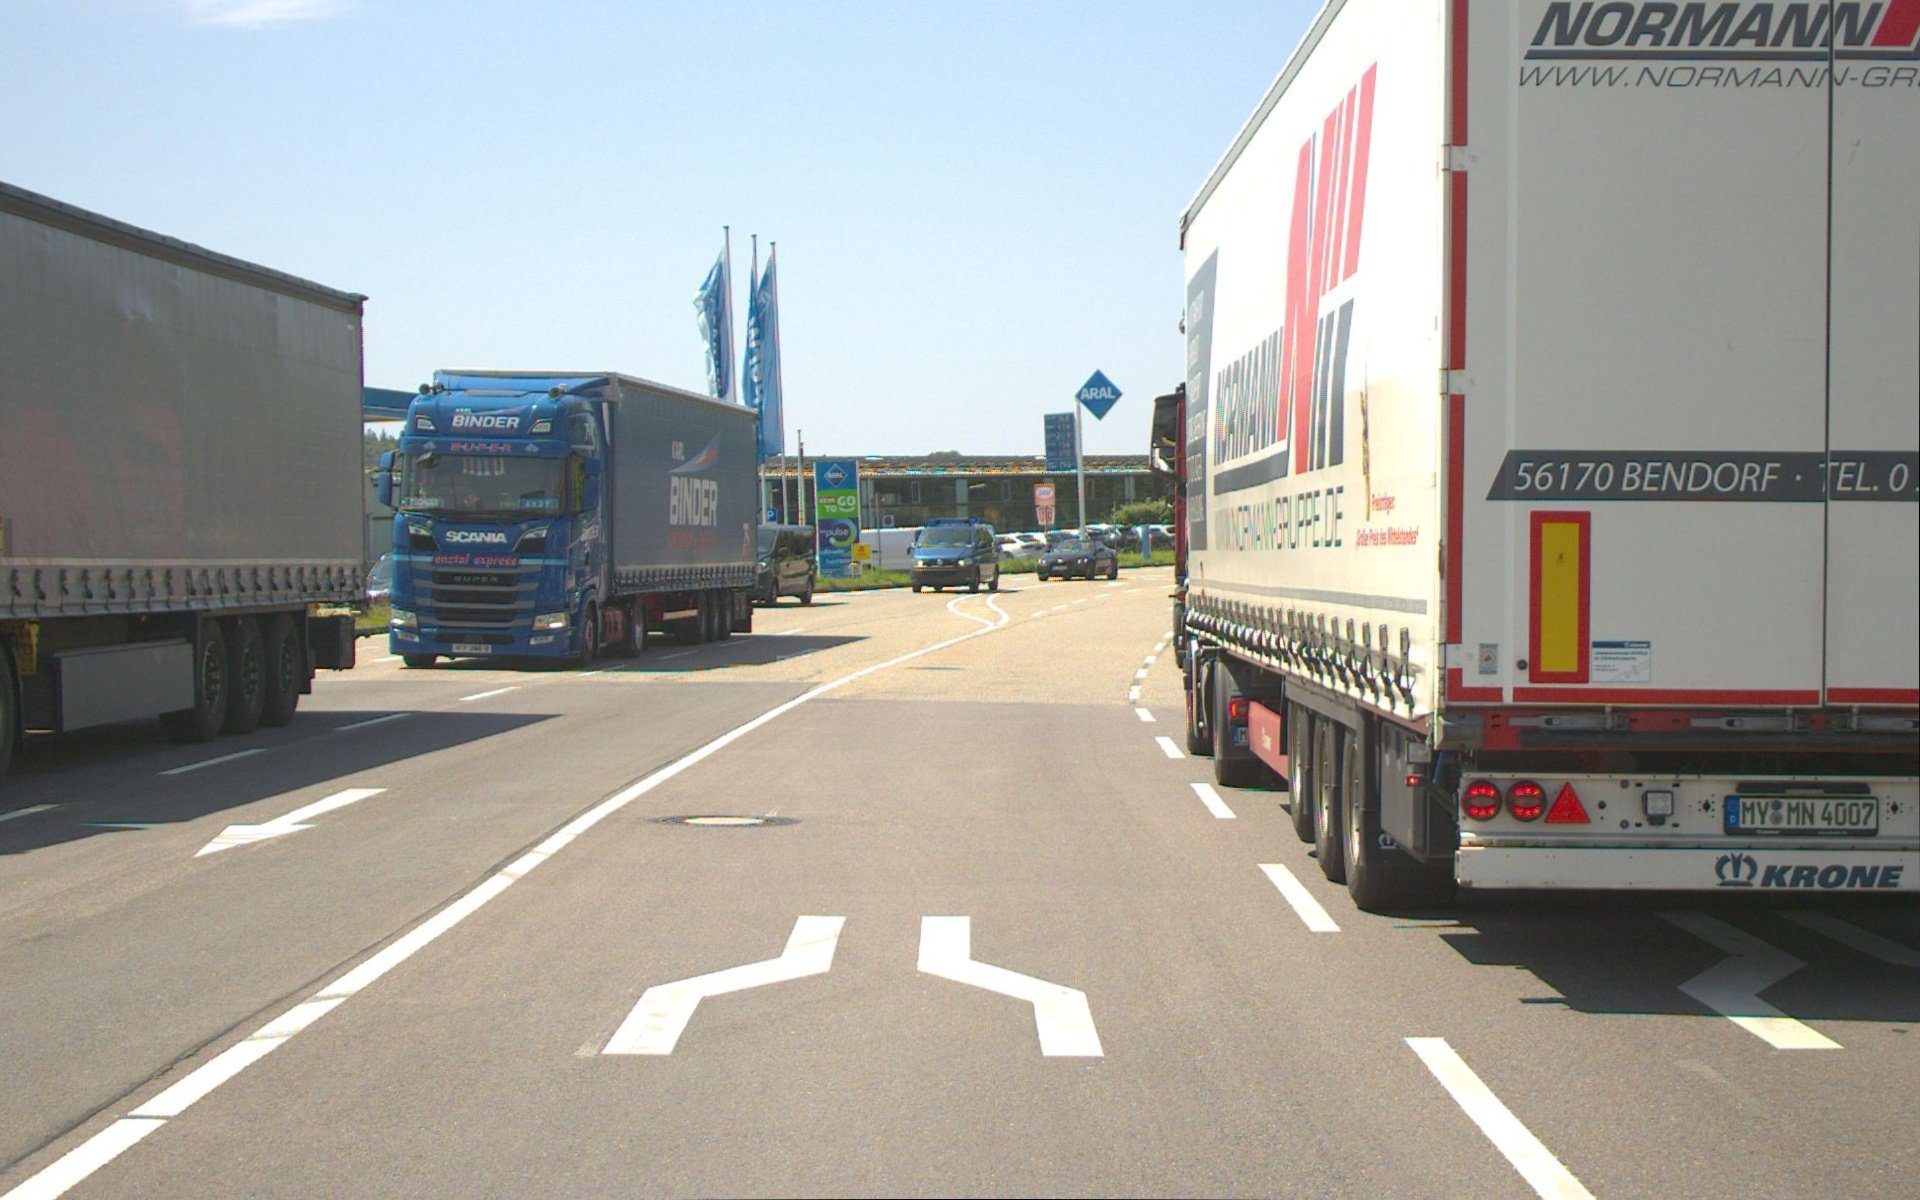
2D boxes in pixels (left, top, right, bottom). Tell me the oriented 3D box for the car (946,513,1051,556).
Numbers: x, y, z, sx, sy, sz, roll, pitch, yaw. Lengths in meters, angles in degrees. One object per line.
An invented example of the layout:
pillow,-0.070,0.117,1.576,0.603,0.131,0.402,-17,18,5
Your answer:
car,1.607,-2.732,143.879,3.995,1.744,1.931,0,0,35

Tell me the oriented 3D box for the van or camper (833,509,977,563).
van or camper,-1.938,-2.254,121.468,4.849,1.898,1.904,0,0,9

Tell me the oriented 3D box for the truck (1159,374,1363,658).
truck,4.455,-1.250,53.098,2.648,3.793,13.358,-1,1,3

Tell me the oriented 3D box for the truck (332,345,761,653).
truck,-5.720,-1.342,51.925,2.844,3.876,17.002,0,0,6

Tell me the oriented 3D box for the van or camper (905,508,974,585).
van or camper,-0.572,-1.547,98.637,1.836,2.130,5.343,0,1,1

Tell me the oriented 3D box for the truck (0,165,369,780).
truck,-7.360,-0.834,25.397,2.790,3.876,16.482,0,0,1

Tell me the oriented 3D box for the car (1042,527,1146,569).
car,5.760,-2.222,147.720,3.995,1.744,1.996,0,1,35

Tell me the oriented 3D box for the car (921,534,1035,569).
car,0.721,-1.991,140.935,4.244,1.354,1.996,0,1,33

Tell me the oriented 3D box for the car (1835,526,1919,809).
car,7.654,0.252,20.586,4.009,1.668,2.202,-5,1,-11

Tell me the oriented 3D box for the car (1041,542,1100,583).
car,3.568,-1.227,111.568,1.848,1.267,4.176,-1,1,1

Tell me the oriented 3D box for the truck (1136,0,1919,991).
truck,2.889,-0.885,20.004,2.973,4.079,17.635,0,1,1
